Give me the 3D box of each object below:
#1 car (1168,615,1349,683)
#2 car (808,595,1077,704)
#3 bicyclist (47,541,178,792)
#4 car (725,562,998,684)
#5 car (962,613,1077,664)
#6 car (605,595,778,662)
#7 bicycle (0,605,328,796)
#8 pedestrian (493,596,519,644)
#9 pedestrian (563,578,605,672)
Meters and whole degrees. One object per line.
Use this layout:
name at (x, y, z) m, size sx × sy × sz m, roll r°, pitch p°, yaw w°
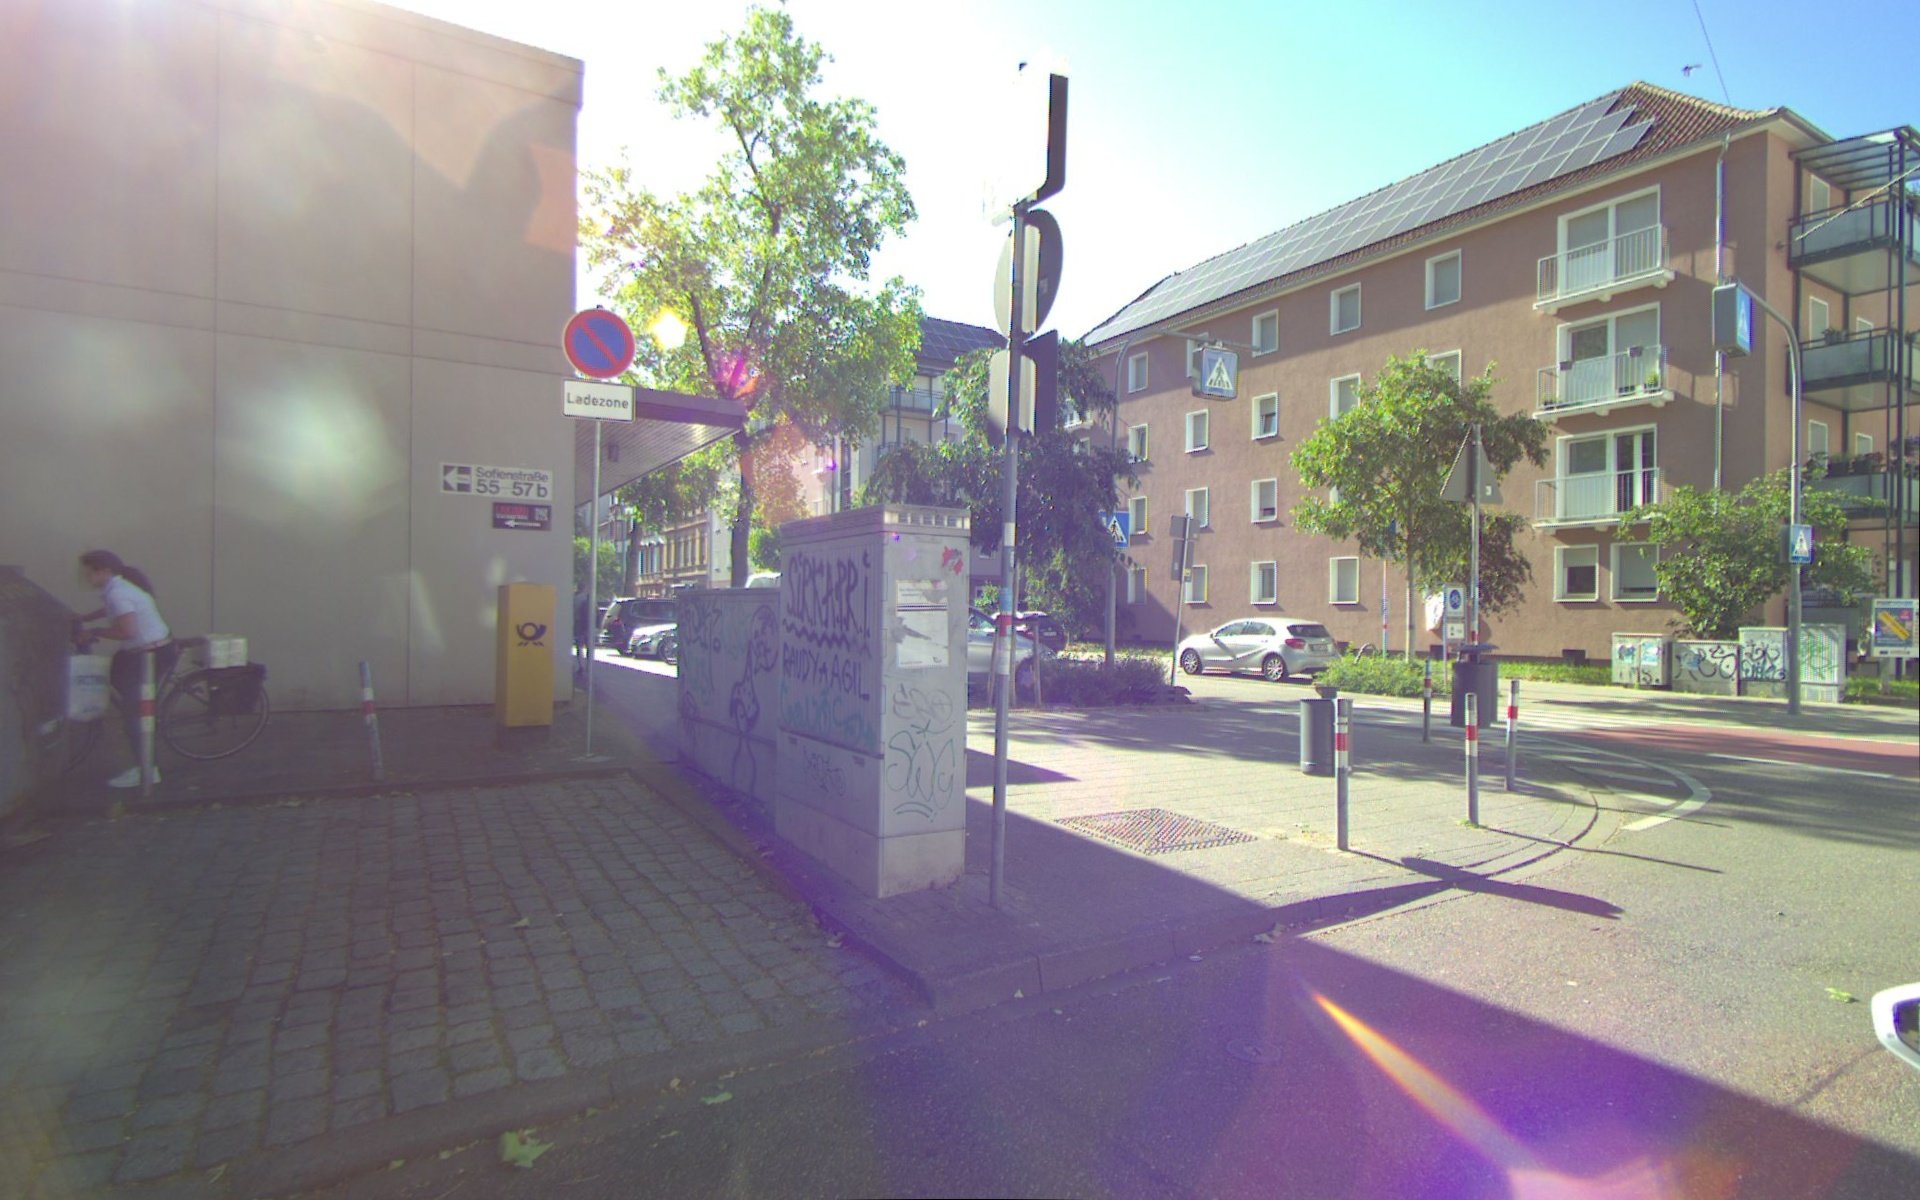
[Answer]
car at (7.063, 1.120, 24.182) m, size 1.726 × 1.473 × 4.121 m, roll 1°, pitch -1°, yaw -31°
car at (-0.244, 0.787, 16.916) m, size 4.256 × 1.634 × 1.743 m, roll 1°, pitch -1°, yaw -32°
bicyclist at (-5.785, 0.422, 6.855) m, size 0.694 × 1.605 × 0.532 m, roll 2°, pitch 1°, yaw 38°
car at (-1.782, 0.499, 18.840) m, size 4.695 × 2.032 × 1.942 m, roll 3°, pitch -2°, yaw -33°
car at (1.887, 1.222, 33.155) m, size 1.768 × 1.539 × 4.274 m, roll 1°, pitch -1°, yaw -30°
car at (-7.872, 0.852, 29.599) m, size 4.591 × 1.828 × 1.821 m, roll 2°, pitch -1°, yaw -32°
bicycle at (-5.656, 0.632, 7.216) m, size 0.790 × 1.168 × 1.715 m, roll 2°, pitch 1°, yaw 28°
pedestrian at (-14.950, 0.665, 33.088) m, size 0.681 × 1.542 × 0.528 m, roll 3°, pitch -1°, yaw -29°
pedestrian at (-6.916, 0.462, 18.446) m, size 0.560 × 1.688 × 0.707 m, roll 3°, pitch -1°, yaw -29°
